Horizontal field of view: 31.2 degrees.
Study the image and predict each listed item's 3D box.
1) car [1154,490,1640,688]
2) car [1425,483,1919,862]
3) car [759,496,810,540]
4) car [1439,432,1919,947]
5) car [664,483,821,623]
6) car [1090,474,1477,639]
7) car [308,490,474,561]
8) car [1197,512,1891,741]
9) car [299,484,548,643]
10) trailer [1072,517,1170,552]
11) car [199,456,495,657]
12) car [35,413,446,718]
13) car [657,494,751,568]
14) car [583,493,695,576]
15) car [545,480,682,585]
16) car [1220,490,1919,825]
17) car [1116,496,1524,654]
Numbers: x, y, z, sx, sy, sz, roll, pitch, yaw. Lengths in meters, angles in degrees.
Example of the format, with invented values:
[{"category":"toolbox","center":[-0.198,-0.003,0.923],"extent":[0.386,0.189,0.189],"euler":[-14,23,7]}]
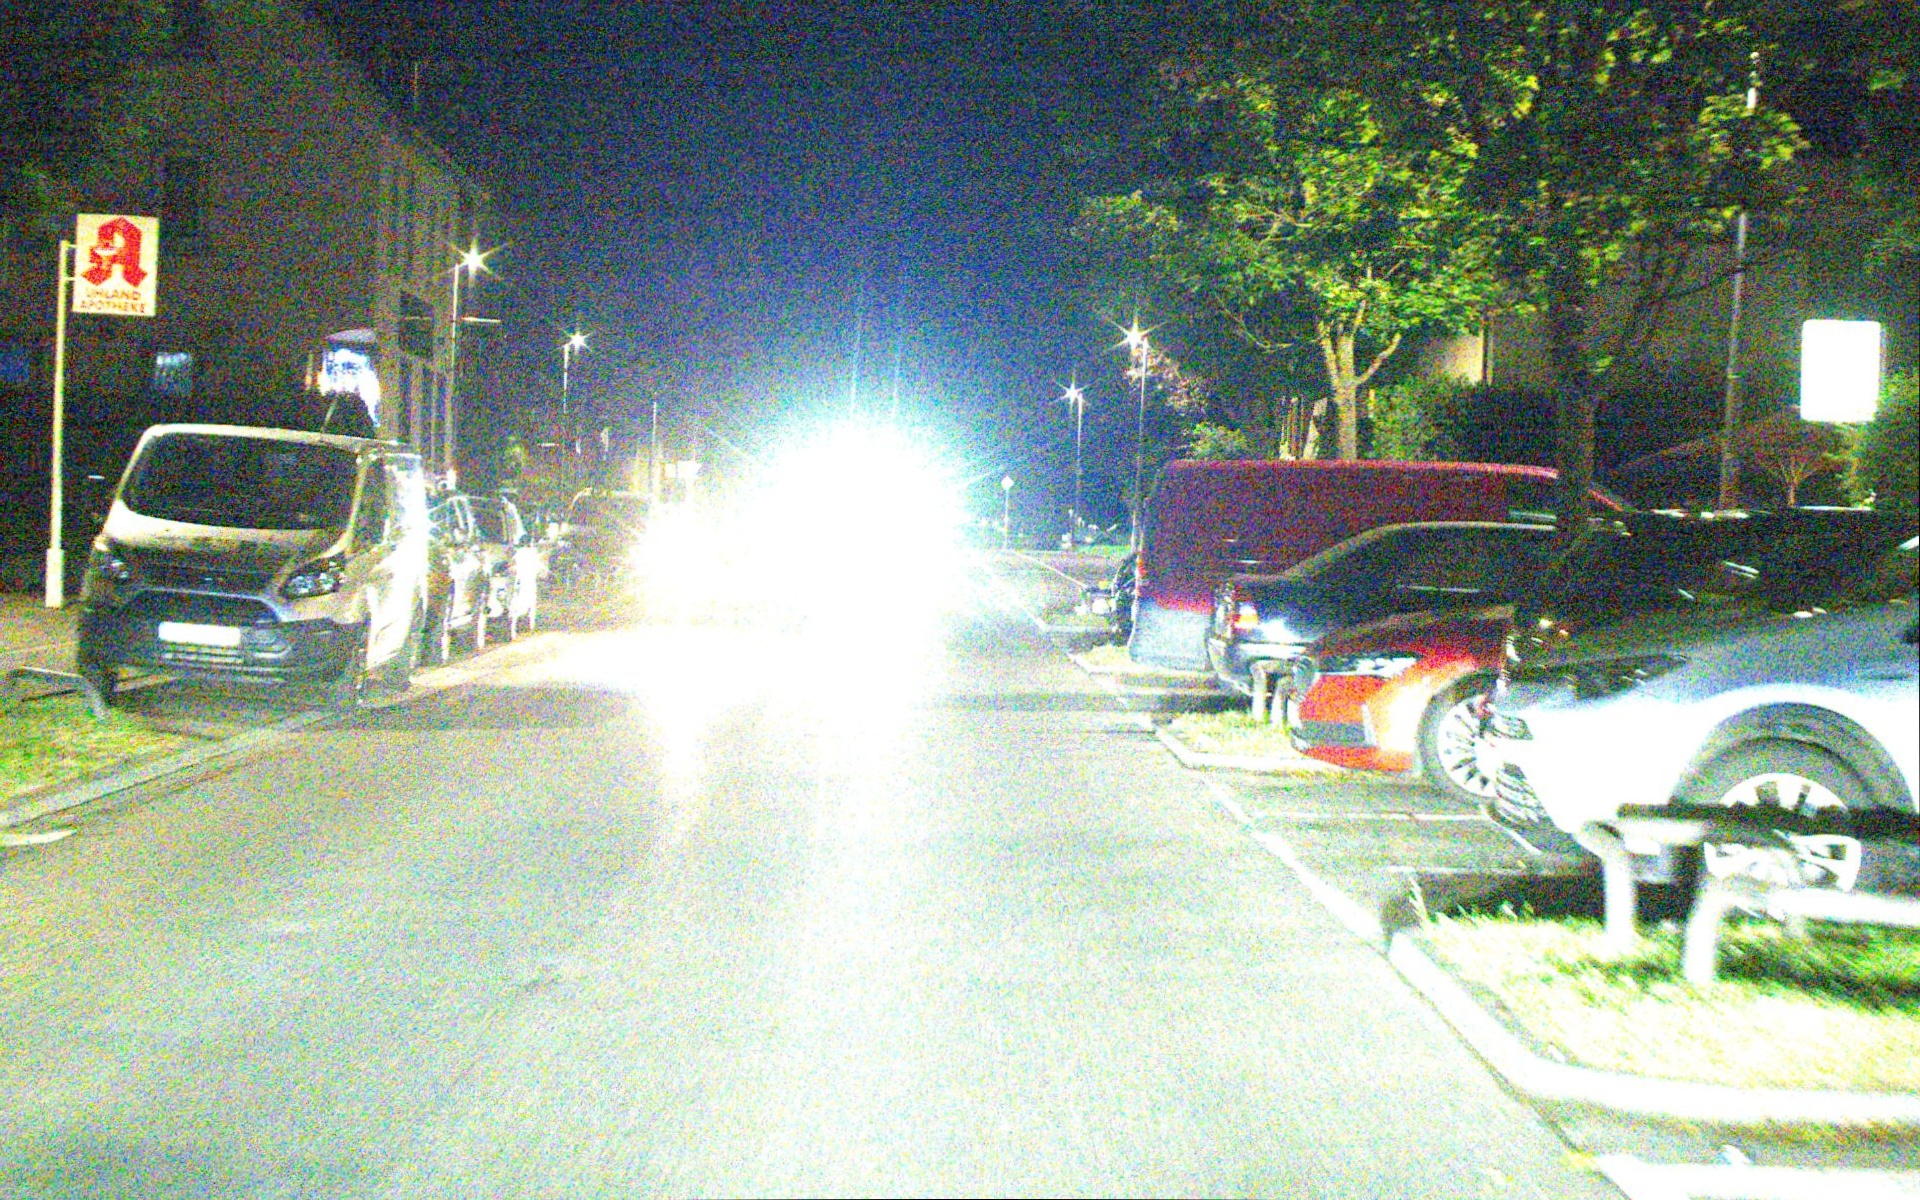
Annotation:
[{"category":"car","center":[3.627,-0.123,29.079],"extent":[3.916,1.546,1.987],"euler":[1,2,4]},{"category":"car","center":[4.249,0.307,15.550],"extent":[3.987,1.552,2.000],"euler":[2,2,0]},{"category":"car","center":[-6.836,-3.185,134.049],"extent":[1.672,1.585,3.987],"euler":[3,1,1]},{"category":"car","center":[4.018,0.316,12.514],"extent":[4.276,1.692,2.000],"euler":[2,2,2]},{"category":"car","center":[-2.773,-0.644,44.525],"extent":[1.719,1.709,3.961],"euler":[1,2,1]},{"category":"car","center":[3.756,-0.526,40.092],"extent":[4.355,1.810,2.031],"euler":[1,2,5]},{"category":"car","center":[-14.143,-1.870,85.670],"extent":[3.986,1.697,1.949],"euler":[-1,2,-7]},{"category":"car","center":[3.873,0.147,23.434],"extent":[4.398,1.415,1.935],"euler":[1,2,1]},{"category":"car","center":[-5.760,-0.445,37.447],"extent":[2.115,1.542,4.478],"euler":[3,2,-2]},{"category":"trailer","center":[5.898,-2.410,126.350],"extent":[3.432,0.999,1.954],"euler":[5,1,-1]},{"category":"car","center":[-5.634,-0.446,32.106],"extent":[2.115,1.664,4.170],"euler":[3,2,-2]},{"category":"car","center":[-5.164,-0.306,25.366],"extent":[2.115,1.940,4.889],"euler":[3,2,-2]},{"category":"car","center":[-5.453,-1.495,73.579],"extent":[1.749,1.463,4.009],"euler":[2,2,-2]},{"category":"car","center":[-5.904,-1.234,63.613],"extent":[1.770,1.463,3.967],"euler":[1,2,-2]},{"category":"car","center":[-5.845,-1.174,58.466],"extent":[1.928,1.631,4.471],"euler":[3,2,-2]},{"category":"car","center":[3.781,0.272,17.947],"extent":[4.654,1.552,2.107],"euler":[2,2,0]},{"category":"car","center":[3.611,-0.257,35.015],"extent":[3.916,1.509,1.855],"euler":[1,1,-1]}]
